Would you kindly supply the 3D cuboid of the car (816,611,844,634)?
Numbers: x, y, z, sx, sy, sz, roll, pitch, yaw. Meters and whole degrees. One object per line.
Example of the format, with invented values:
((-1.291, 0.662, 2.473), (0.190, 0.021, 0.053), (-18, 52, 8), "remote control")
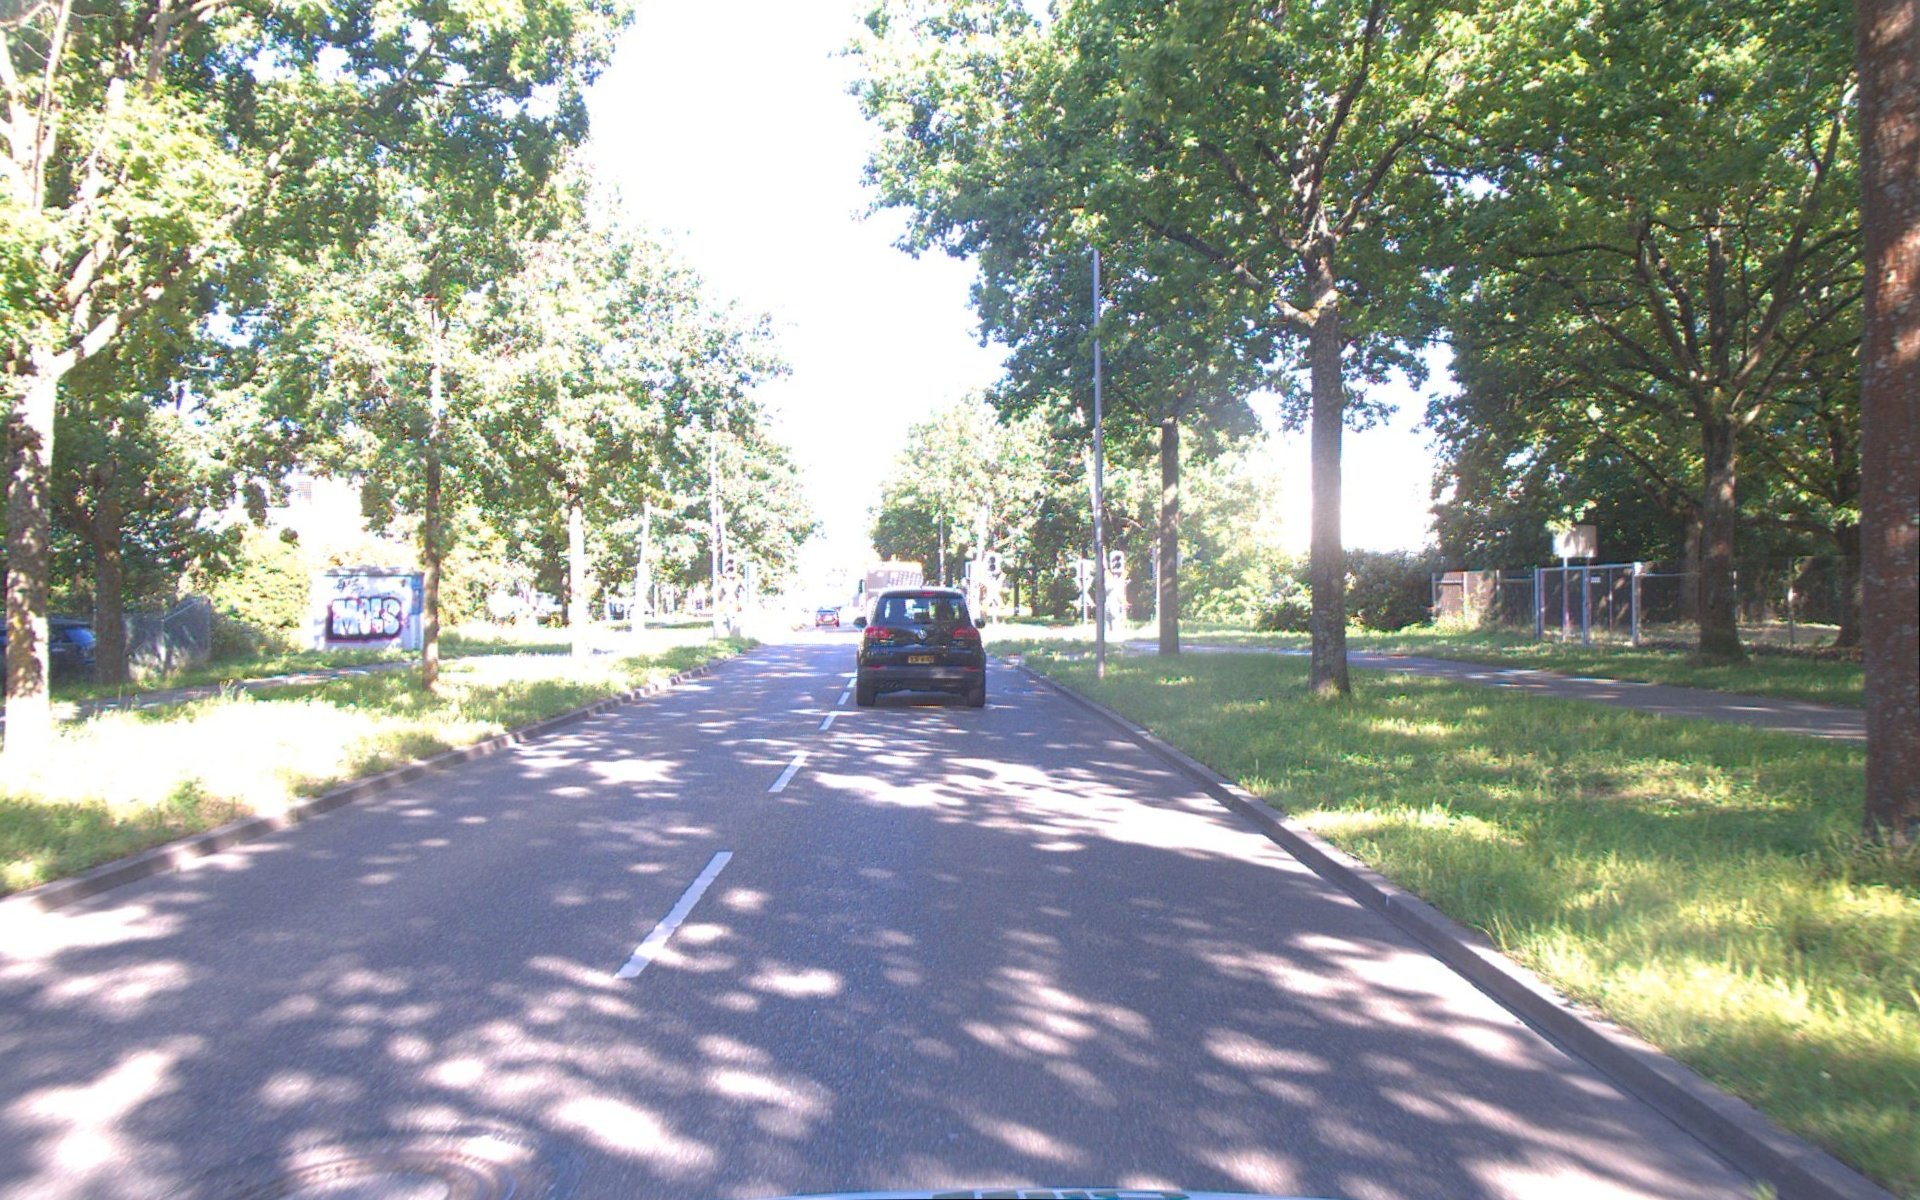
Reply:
((-8.786, 1.521, 112.353), (1.533, 1.531, 4.000), (1, 0, 0), "car")

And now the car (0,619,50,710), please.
((-21.718, 1.311, 34.687), (4.109, 1.833, 1.998), (1, 0, -6), "car")

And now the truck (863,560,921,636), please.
((-3.083, -0.090, 75.655), (2.461, 3.300, 8.149), (-1, 0, -2), "truck")

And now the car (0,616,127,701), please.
((-21.487, 1.298, 37.546), (4.109, 1.833, 1.998), (1, 0, -6), "car")

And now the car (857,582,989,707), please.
((-0.558, 0.603, 24.306), (1.746, 1.662, 3.998), (1, 0, -2), "car")
